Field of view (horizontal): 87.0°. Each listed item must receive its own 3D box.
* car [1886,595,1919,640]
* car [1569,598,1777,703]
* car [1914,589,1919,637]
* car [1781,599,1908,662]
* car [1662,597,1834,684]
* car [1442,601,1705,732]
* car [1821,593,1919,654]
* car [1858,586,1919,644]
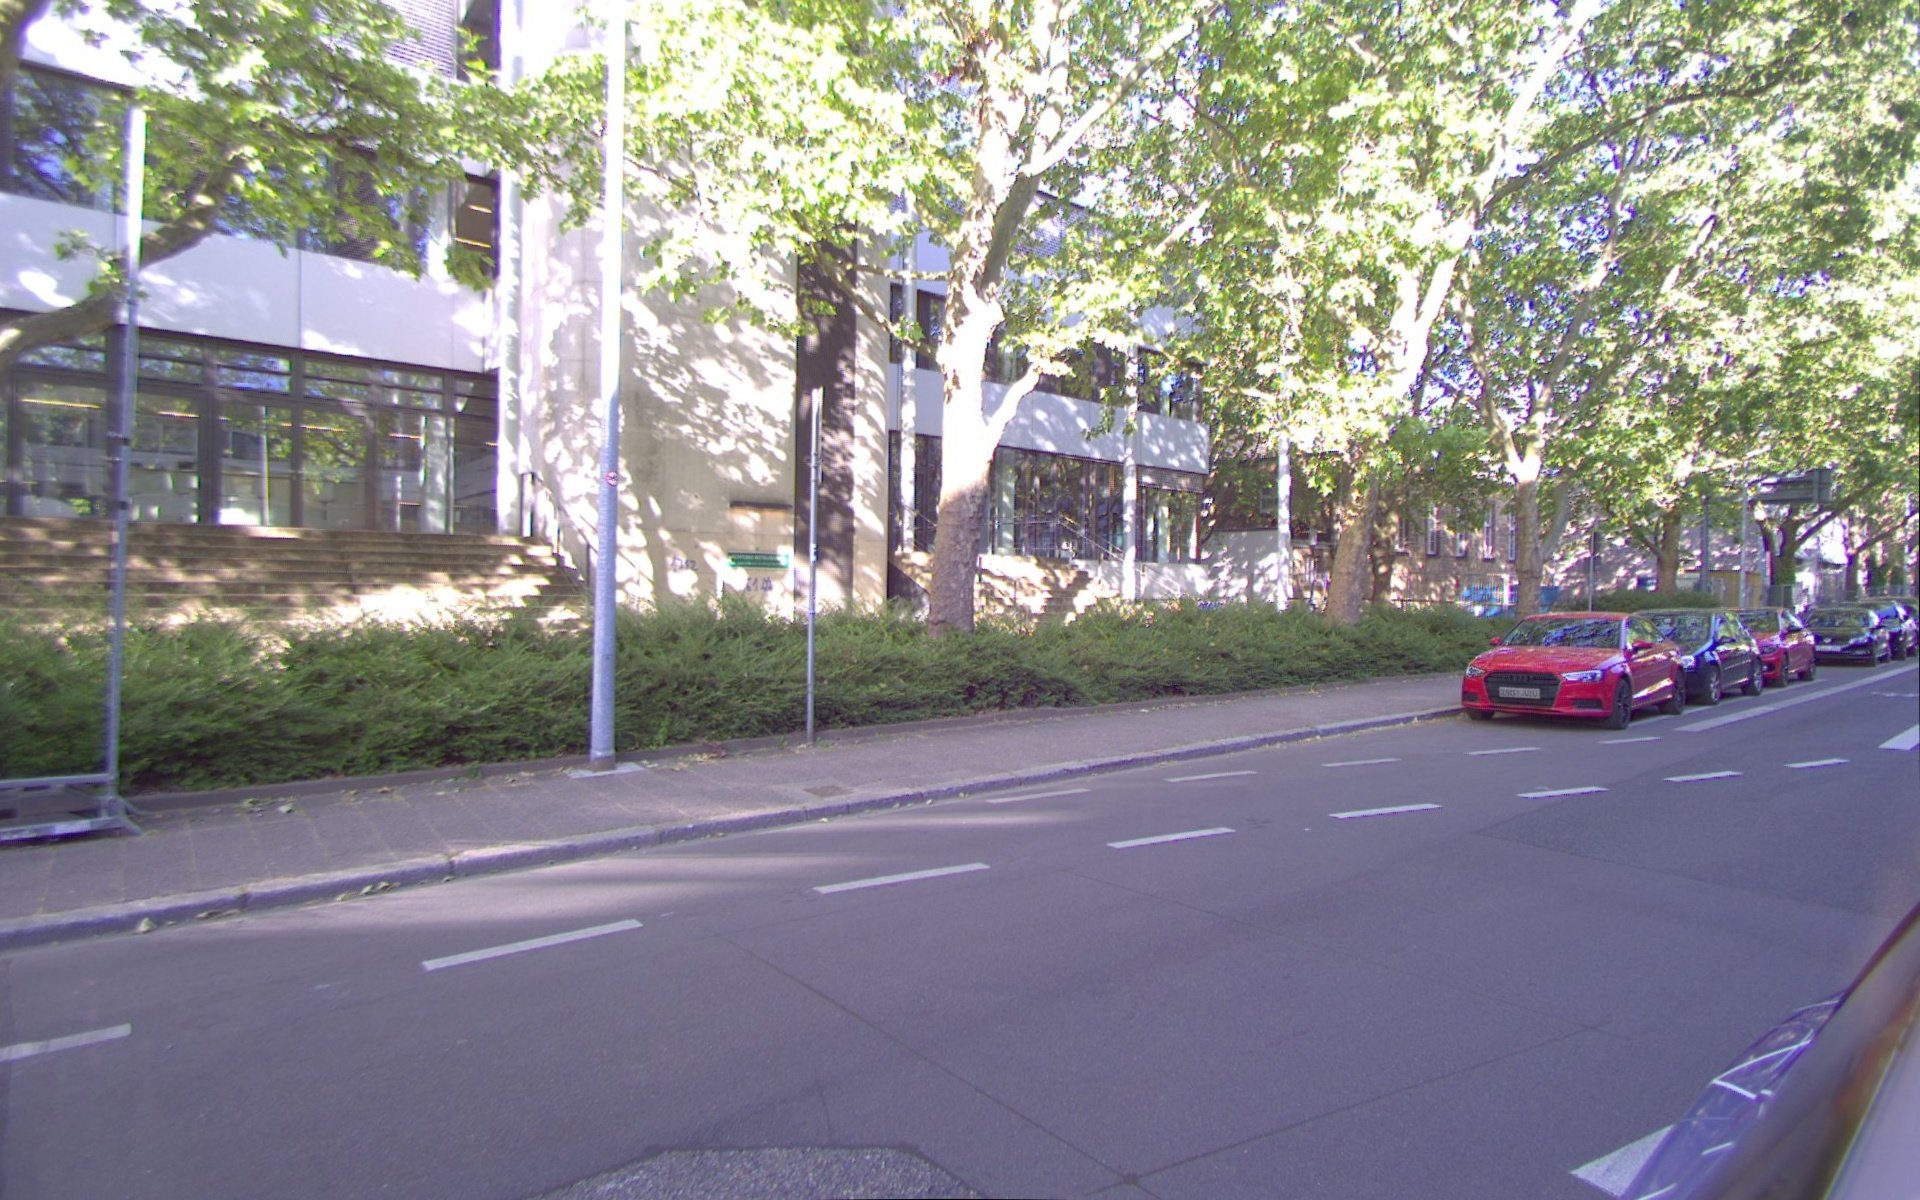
[{"bbox_3d":[35.932,0.603,37.435,4.070,1.585,1.997,-1,0,-41],"label":"car"},{"bbox_3d":[11.744,0.731,16.607,3.581,1.478,1.997,-1,0,-41],"label":"car"},{"bbox_3d":[39.654,0.489,40.335,3.930,1.872,1.997,-1,0,-41],"label":"car"},{"bbox_3d":[22.809,0.728,26.056,3.527,1.474,1.997,-1,0,-41],"label":"car"},{"bbox_3d":[15.653,0.721,20.044,3.762,1.517,1.997,-1,0,-41],"label":"car"},{"bbox_3d":[8.267,0.754,13.519,3.930,1.443,1.906,-1,1,-41],"label":"car"},{"bbox_3d":[26.531,0.613,29.174,4.070,1.621,1.997,-1,0,-41],"label":"car"},{"bbox_3d":[31.274,0.454,33.306,4.493,1.809,1.997,-1,0,-41],"label":"car"}]
